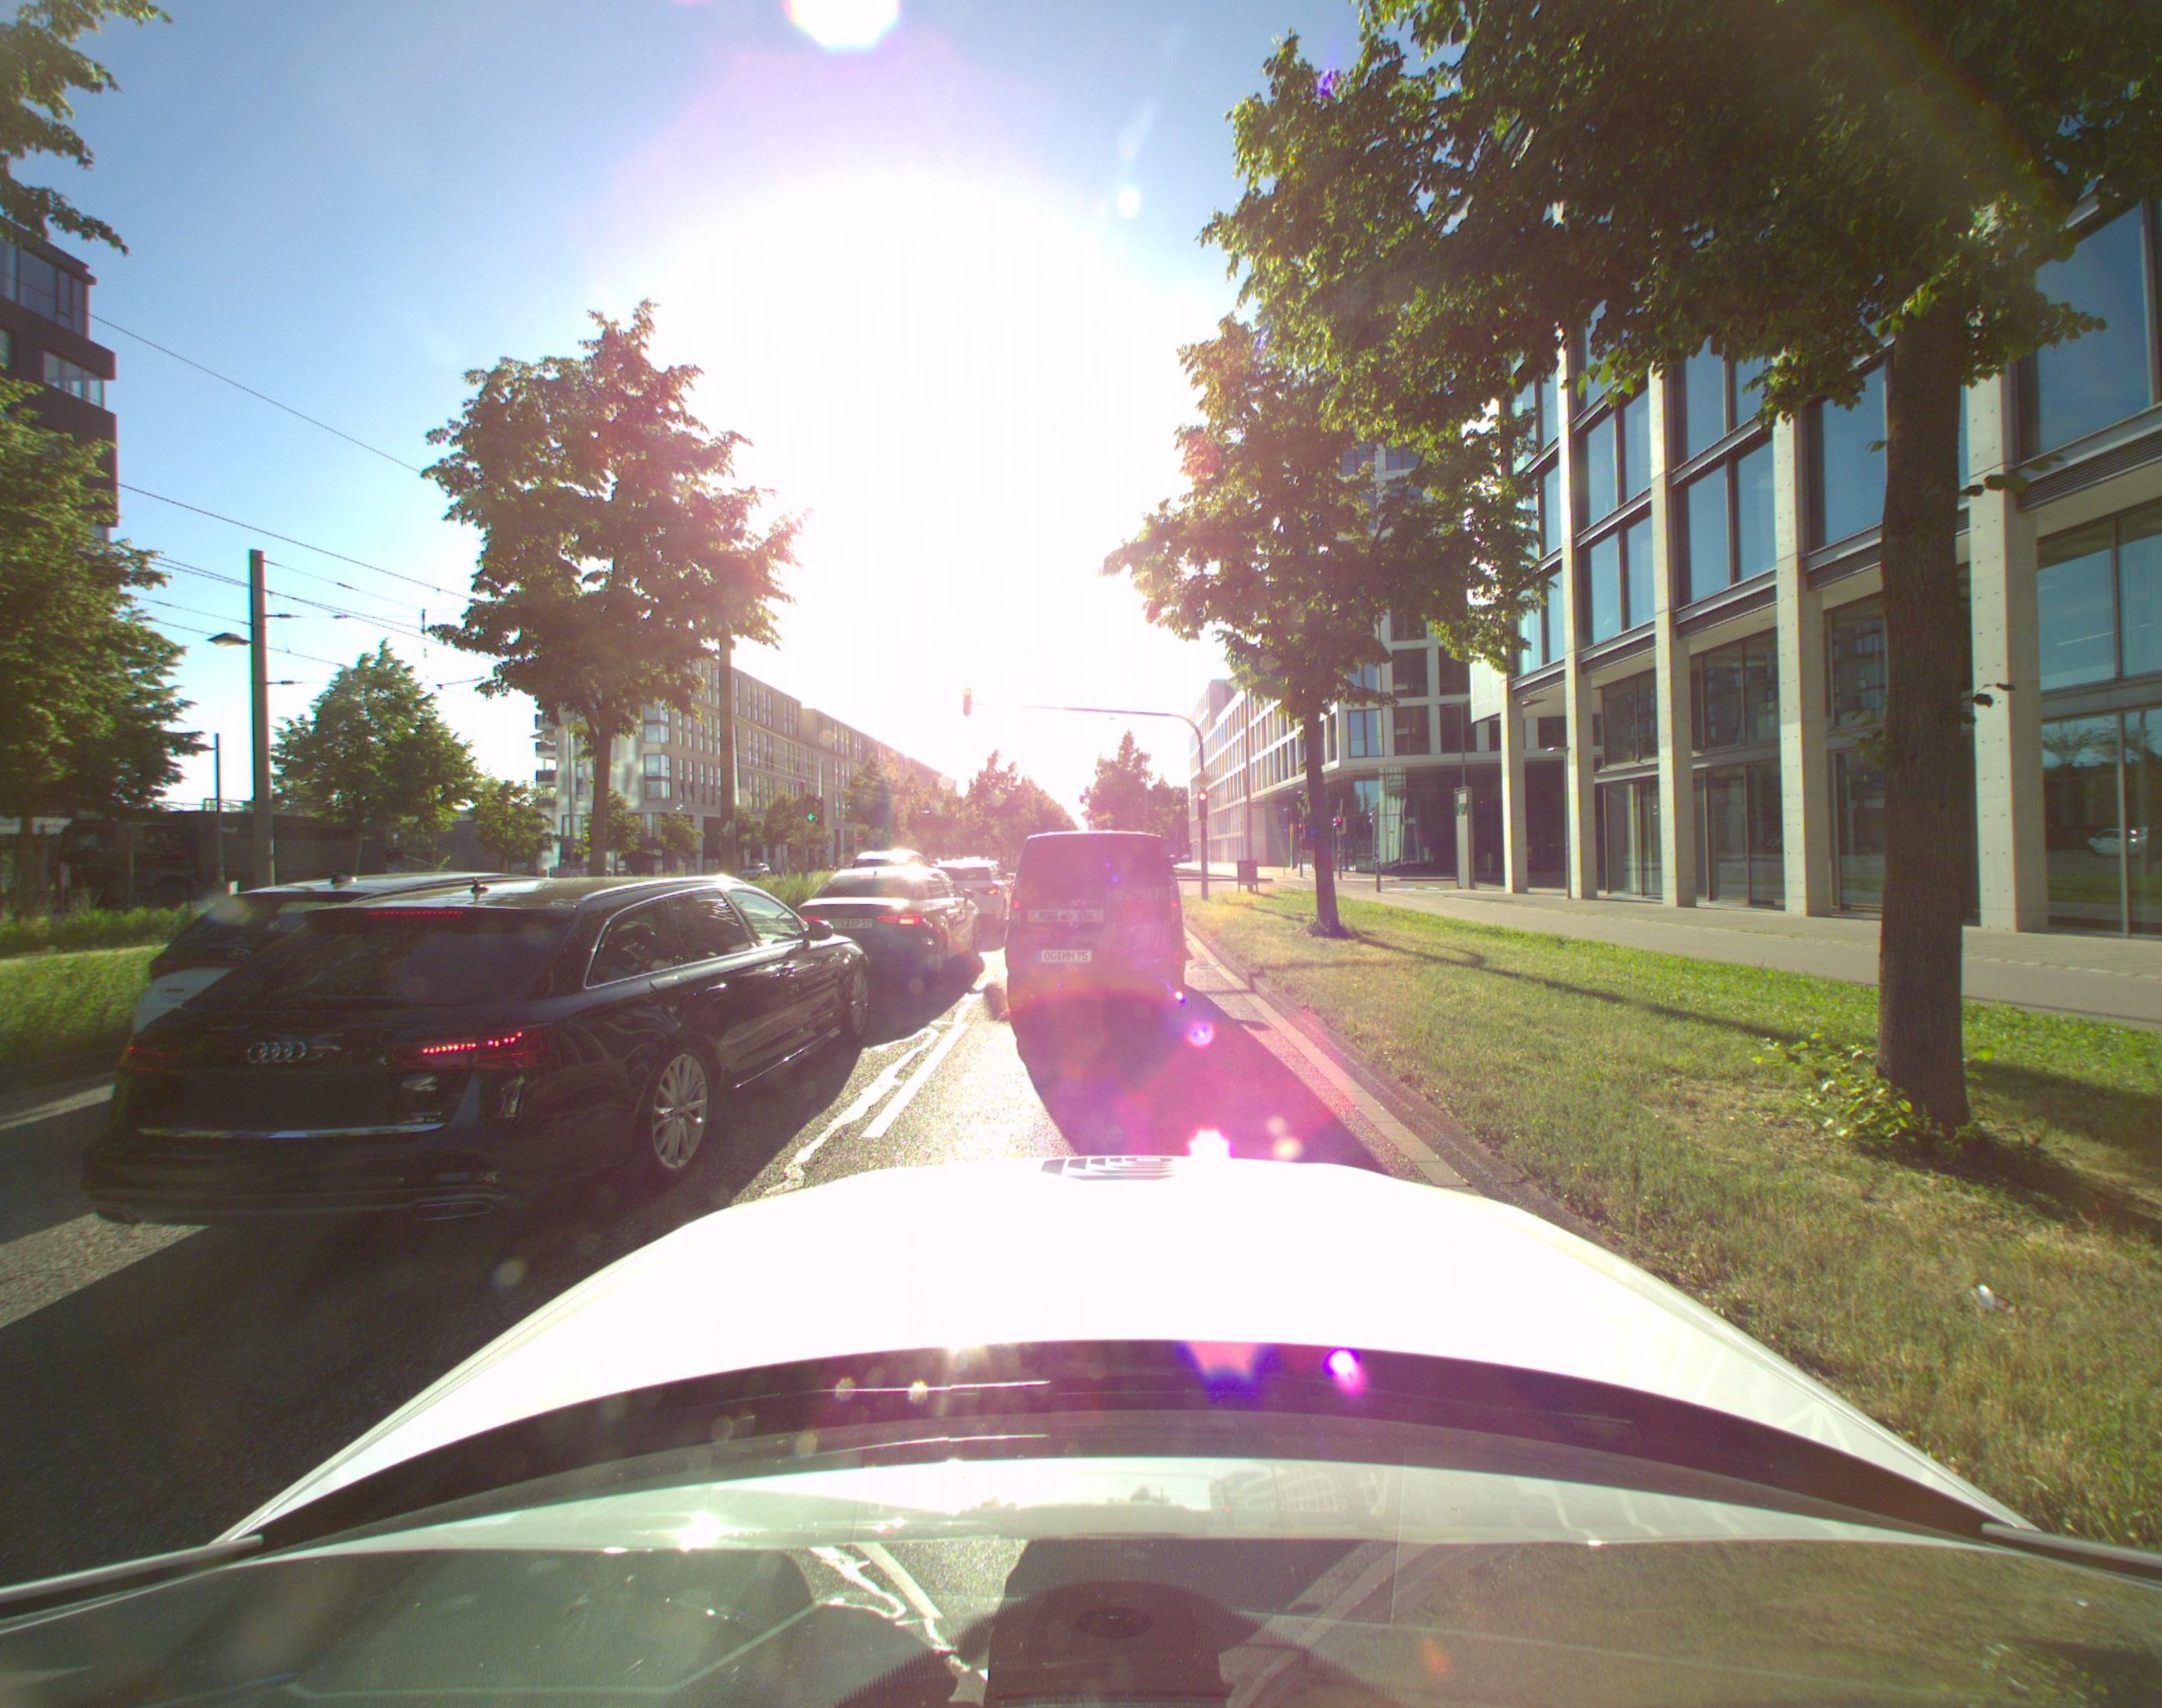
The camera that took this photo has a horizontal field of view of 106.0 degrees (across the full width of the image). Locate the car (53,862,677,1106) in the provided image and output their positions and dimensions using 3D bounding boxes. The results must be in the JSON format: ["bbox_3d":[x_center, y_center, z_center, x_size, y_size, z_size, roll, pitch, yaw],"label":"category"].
[{"bbox_3d":[-5.671,0.845,7.464,1.795,1.447,4.564,-1,0,-3],"label":"car"}]

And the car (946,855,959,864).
[{"bbox_3d":[-28.898,1.307,183.373,1.986,2.013,4.002,-1,0,2],"label":"car"}]

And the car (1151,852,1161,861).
[{"bbox_3d":[16.510,0.520,179.688,1.986,1.782,4.002,-1,0,2],"label":"car"}]

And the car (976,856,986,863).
[{"bbox_3d":[-27.440,1.540,223.822,1.986,2.013,4.002,-1,0,2],"label":"car"}]

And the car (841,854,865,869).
[{"bbox_3d":[-30.878,0.980,110.603,1.986,2.013,4.002,-1,0,2],"label":"car"}]

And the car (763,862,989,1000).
[{"bbox_3d":[-2.490,0.864,11.092,1.835,1.426,4.340,-1,0,2],"label":"car"}]

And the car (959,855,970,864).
[{"bbox_3d":[-28.608,1.398,200.192,1.986,2.013,4.002,-1,0,2],"label":"car"}]

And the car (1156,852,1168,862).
[{"bbox_3d":[15.968,0.610,160.486,1.986,1.782,4.002,-1,0,2],"label":"car"}]

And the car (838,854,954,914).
[{"bbox_3d":[-4.933,0.739,22.420,1.791,1.447,4.574,1,0,4],"label":"car"}]

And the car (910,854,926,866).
[{"bbox_3d":[-30.104,1.116,150.293,1.986,2.013,4.002,-1,0,2],"label":"car"}]

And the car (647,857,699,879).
[{"bbox_3d":[-31.042,1.038,62.082,1.758,1.520,4.002,-1,0,2],"label":"car"}]

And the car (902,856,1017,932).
[{"bbox_3d":[-2.510,0.786,17.743,1.797,1.426,3.902,-1,0,2],"label":"car"}]

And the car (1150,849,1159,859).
[{"bbox_3d":[17.894,-0.002,198.189,1.986,2.497,4.988,-1,0,2],"label":"car"}]

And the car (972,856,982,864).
[{"bbox_3d":[-27.897,1.503,218.205,1.986,2.013,4.002,-1,0,2],"label":"car"}]

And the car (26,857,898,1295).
[{"bbox_3d":[-2.751,0.791,5.365,1.868,1.484,4.967,-1,0,1],"label":"car"}]

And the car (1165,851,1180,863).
[{"bbox_3d":[14.327,0.414,127.845,1.986,1.782,4.002,-1,0,2],"label":"car"}]

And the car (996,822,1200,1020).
[{"bbox_3d":[0.217,0.614,9.451,1.835,1.780,4.002,-1,0,2],"label":"car"}]

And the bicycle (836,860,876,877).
[{"bbox_3d":[-17.815,1.143,64.435,2.937,1.190,0.816,-1,0,-5],"label":"bicycle"}]

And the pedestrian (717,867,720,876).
[{"bbox_3d":[-41.957,2.023,94.224,0.253,1.085,0.260,-1,0,1],"label":"pedestrian"}]

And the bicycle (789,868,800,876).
[{"bbox_3d":[-36.486,2.267,103.756,0.674,0.988,1.957,-1,0,2],"label":"bicycle"}]

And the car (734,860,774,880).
[{"bbox_3d":[-31.795,1.531,79.254,1.986,1.814,4.372,-1,0,2],"label":"car"}]

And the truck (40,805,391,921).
[{"bbox_3d":[-33.627,0.294,32.655,2.880,3.853,10.218,-1,0,2],"label":"truck"}]

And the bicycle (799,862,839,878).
[{"bbox_3d":[-21.084,1.314,65.629,2.933,1.190,0.817,-1,0,-1],"label":"bicycle"}]

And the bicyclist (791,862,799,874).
[{"bbox_3d":[-36.484,1.802,103.818,0.674,1.529,0.714,-1,0,1],"label":"bicyclist"}]

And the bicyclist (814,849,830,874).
[{"bbox_3d":[-20.900,0.613,65.654,0.995,1.947,0.817,-1,0,-1],"label":"bicyclist"}]

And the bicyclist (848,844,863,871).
[{"bbox_3d":[-17.840,0.284,64.450,0.938,2.092,0.816,-1,0,-5],"label":"bicyclist"}]

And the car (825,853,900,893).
[{"bbox_3d":[-9.370,0.768,34.708,1.811,1.483,4.523,2,0,-32],"label":"car"}]
